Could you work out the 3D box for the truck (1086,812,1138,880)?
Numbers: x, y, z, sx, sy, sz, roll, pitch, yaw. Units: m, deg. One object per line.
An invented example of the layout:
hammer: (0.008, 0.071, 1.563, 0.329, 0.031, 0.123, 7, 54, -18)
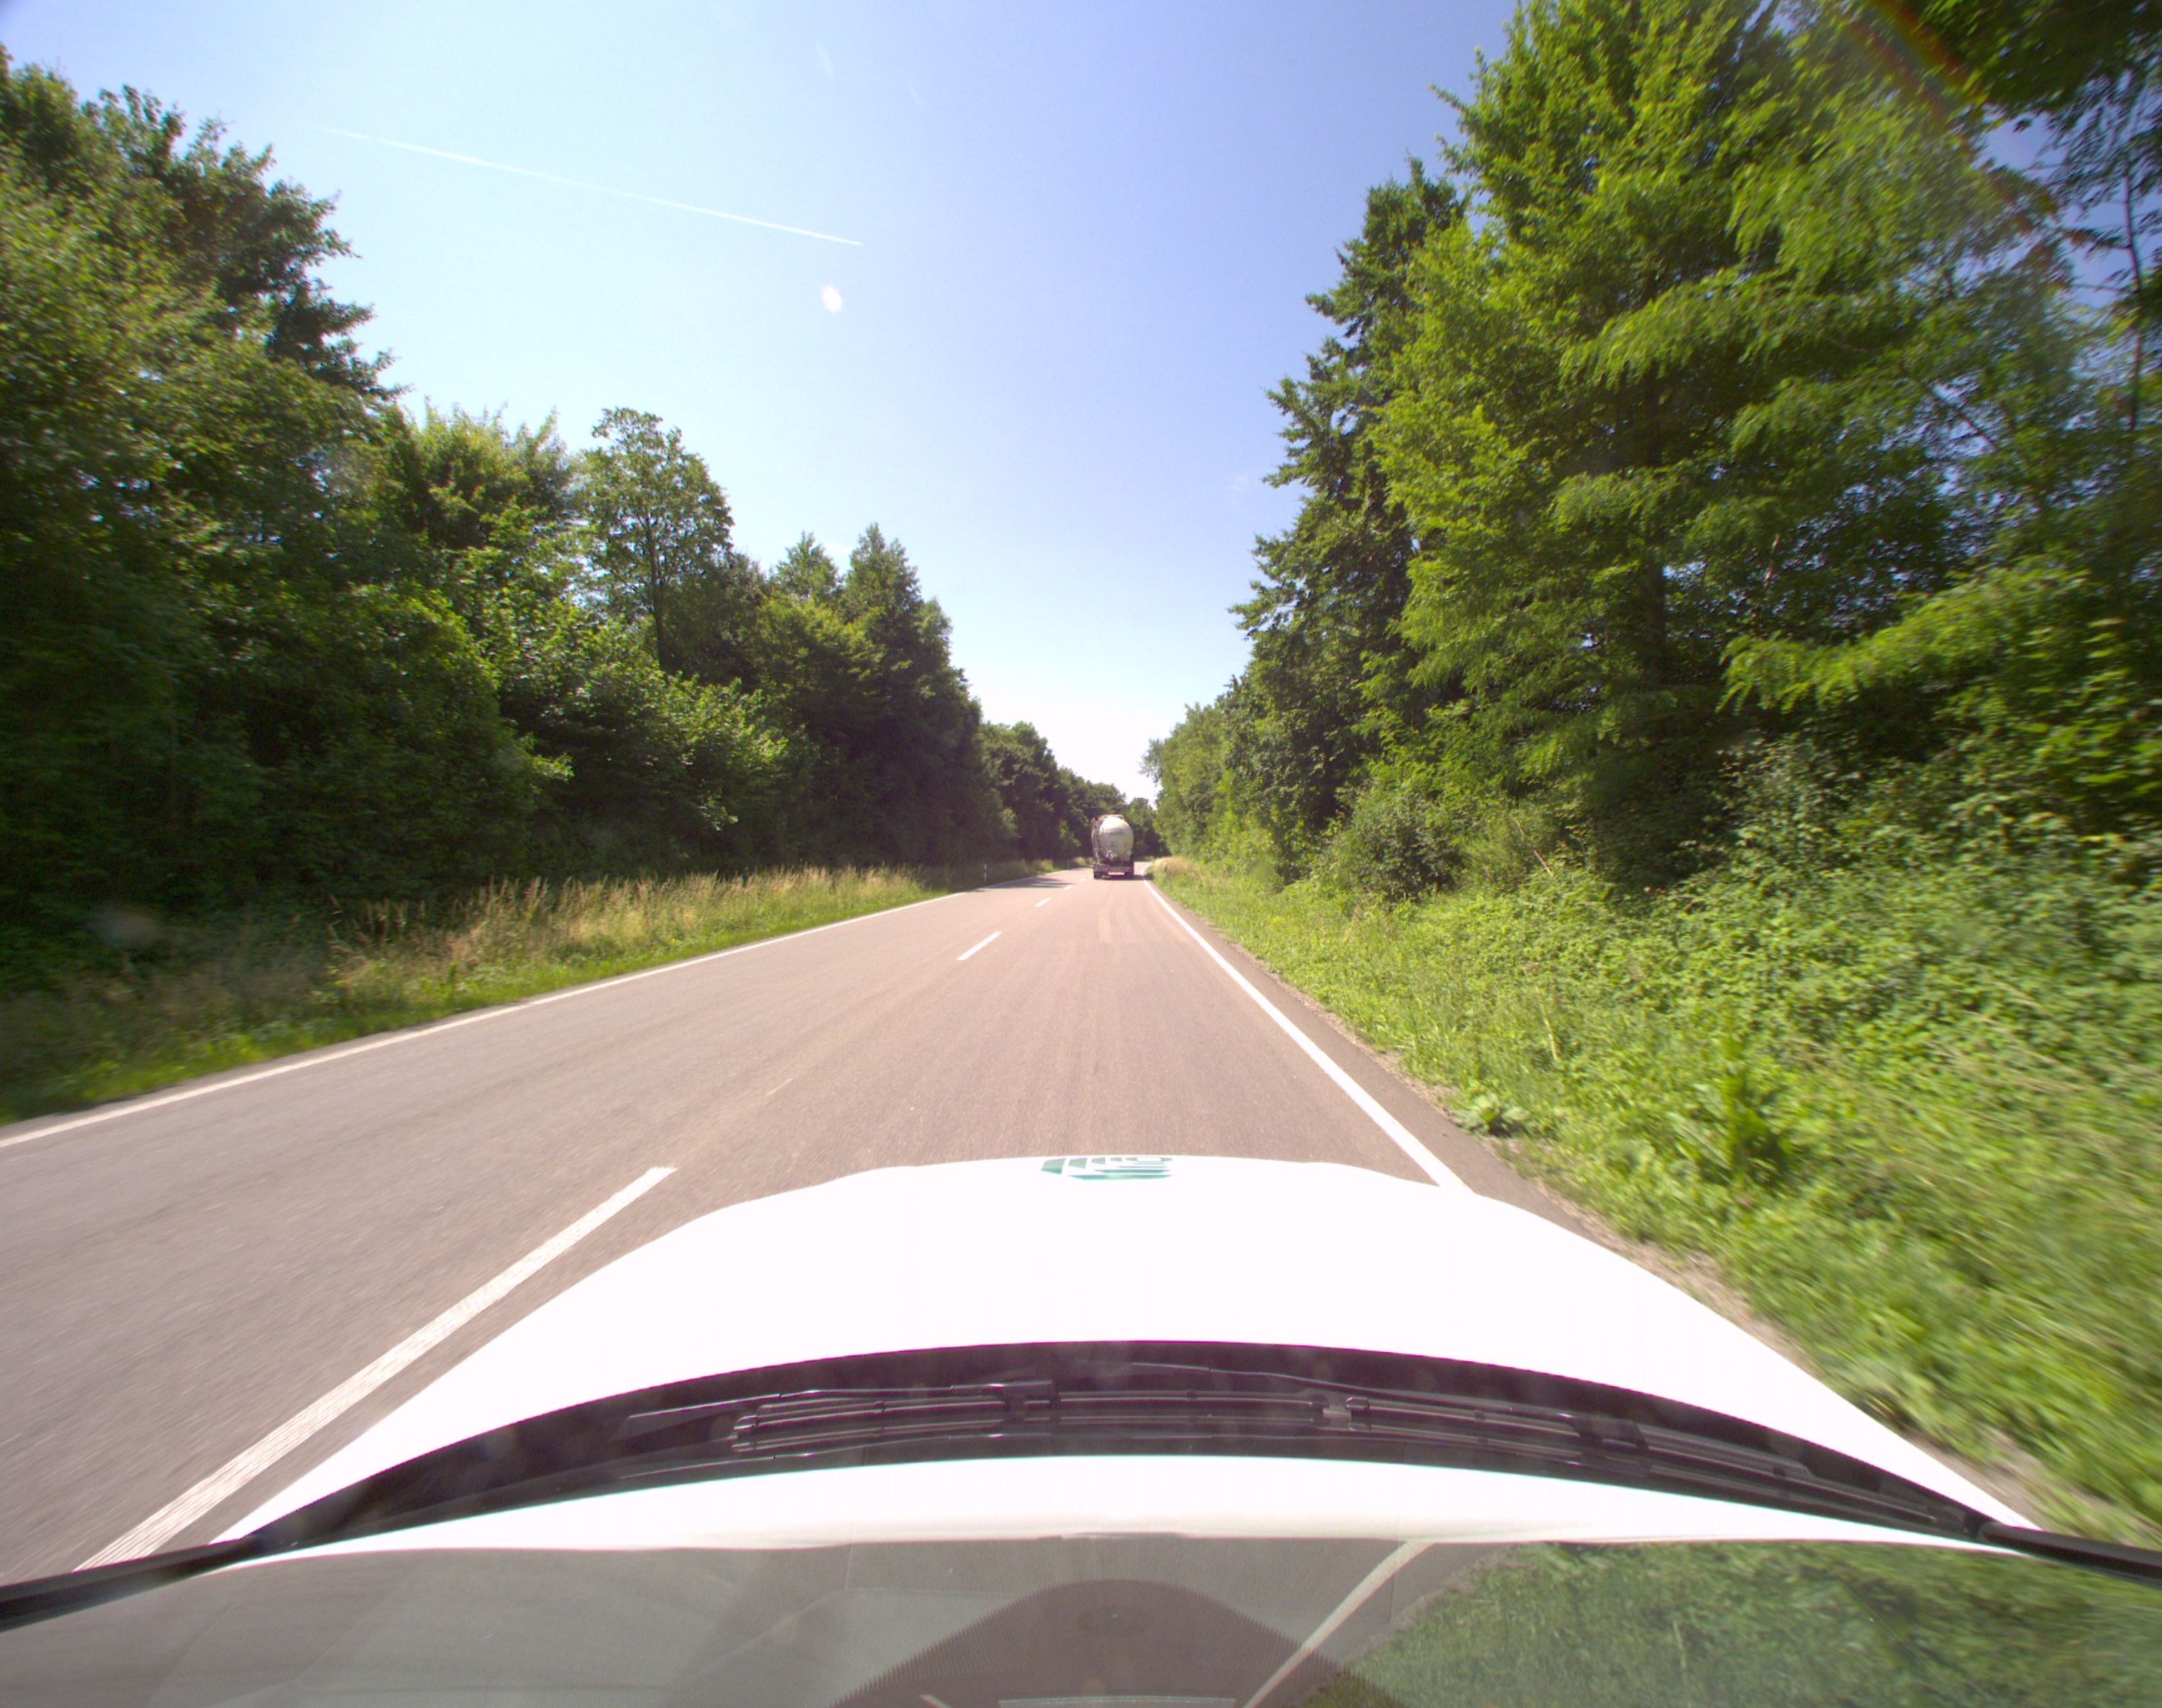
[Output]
truck: (2.032, -0.485, 55.903, 3.038, 3.998, 15.641, 0, 0, 1)
